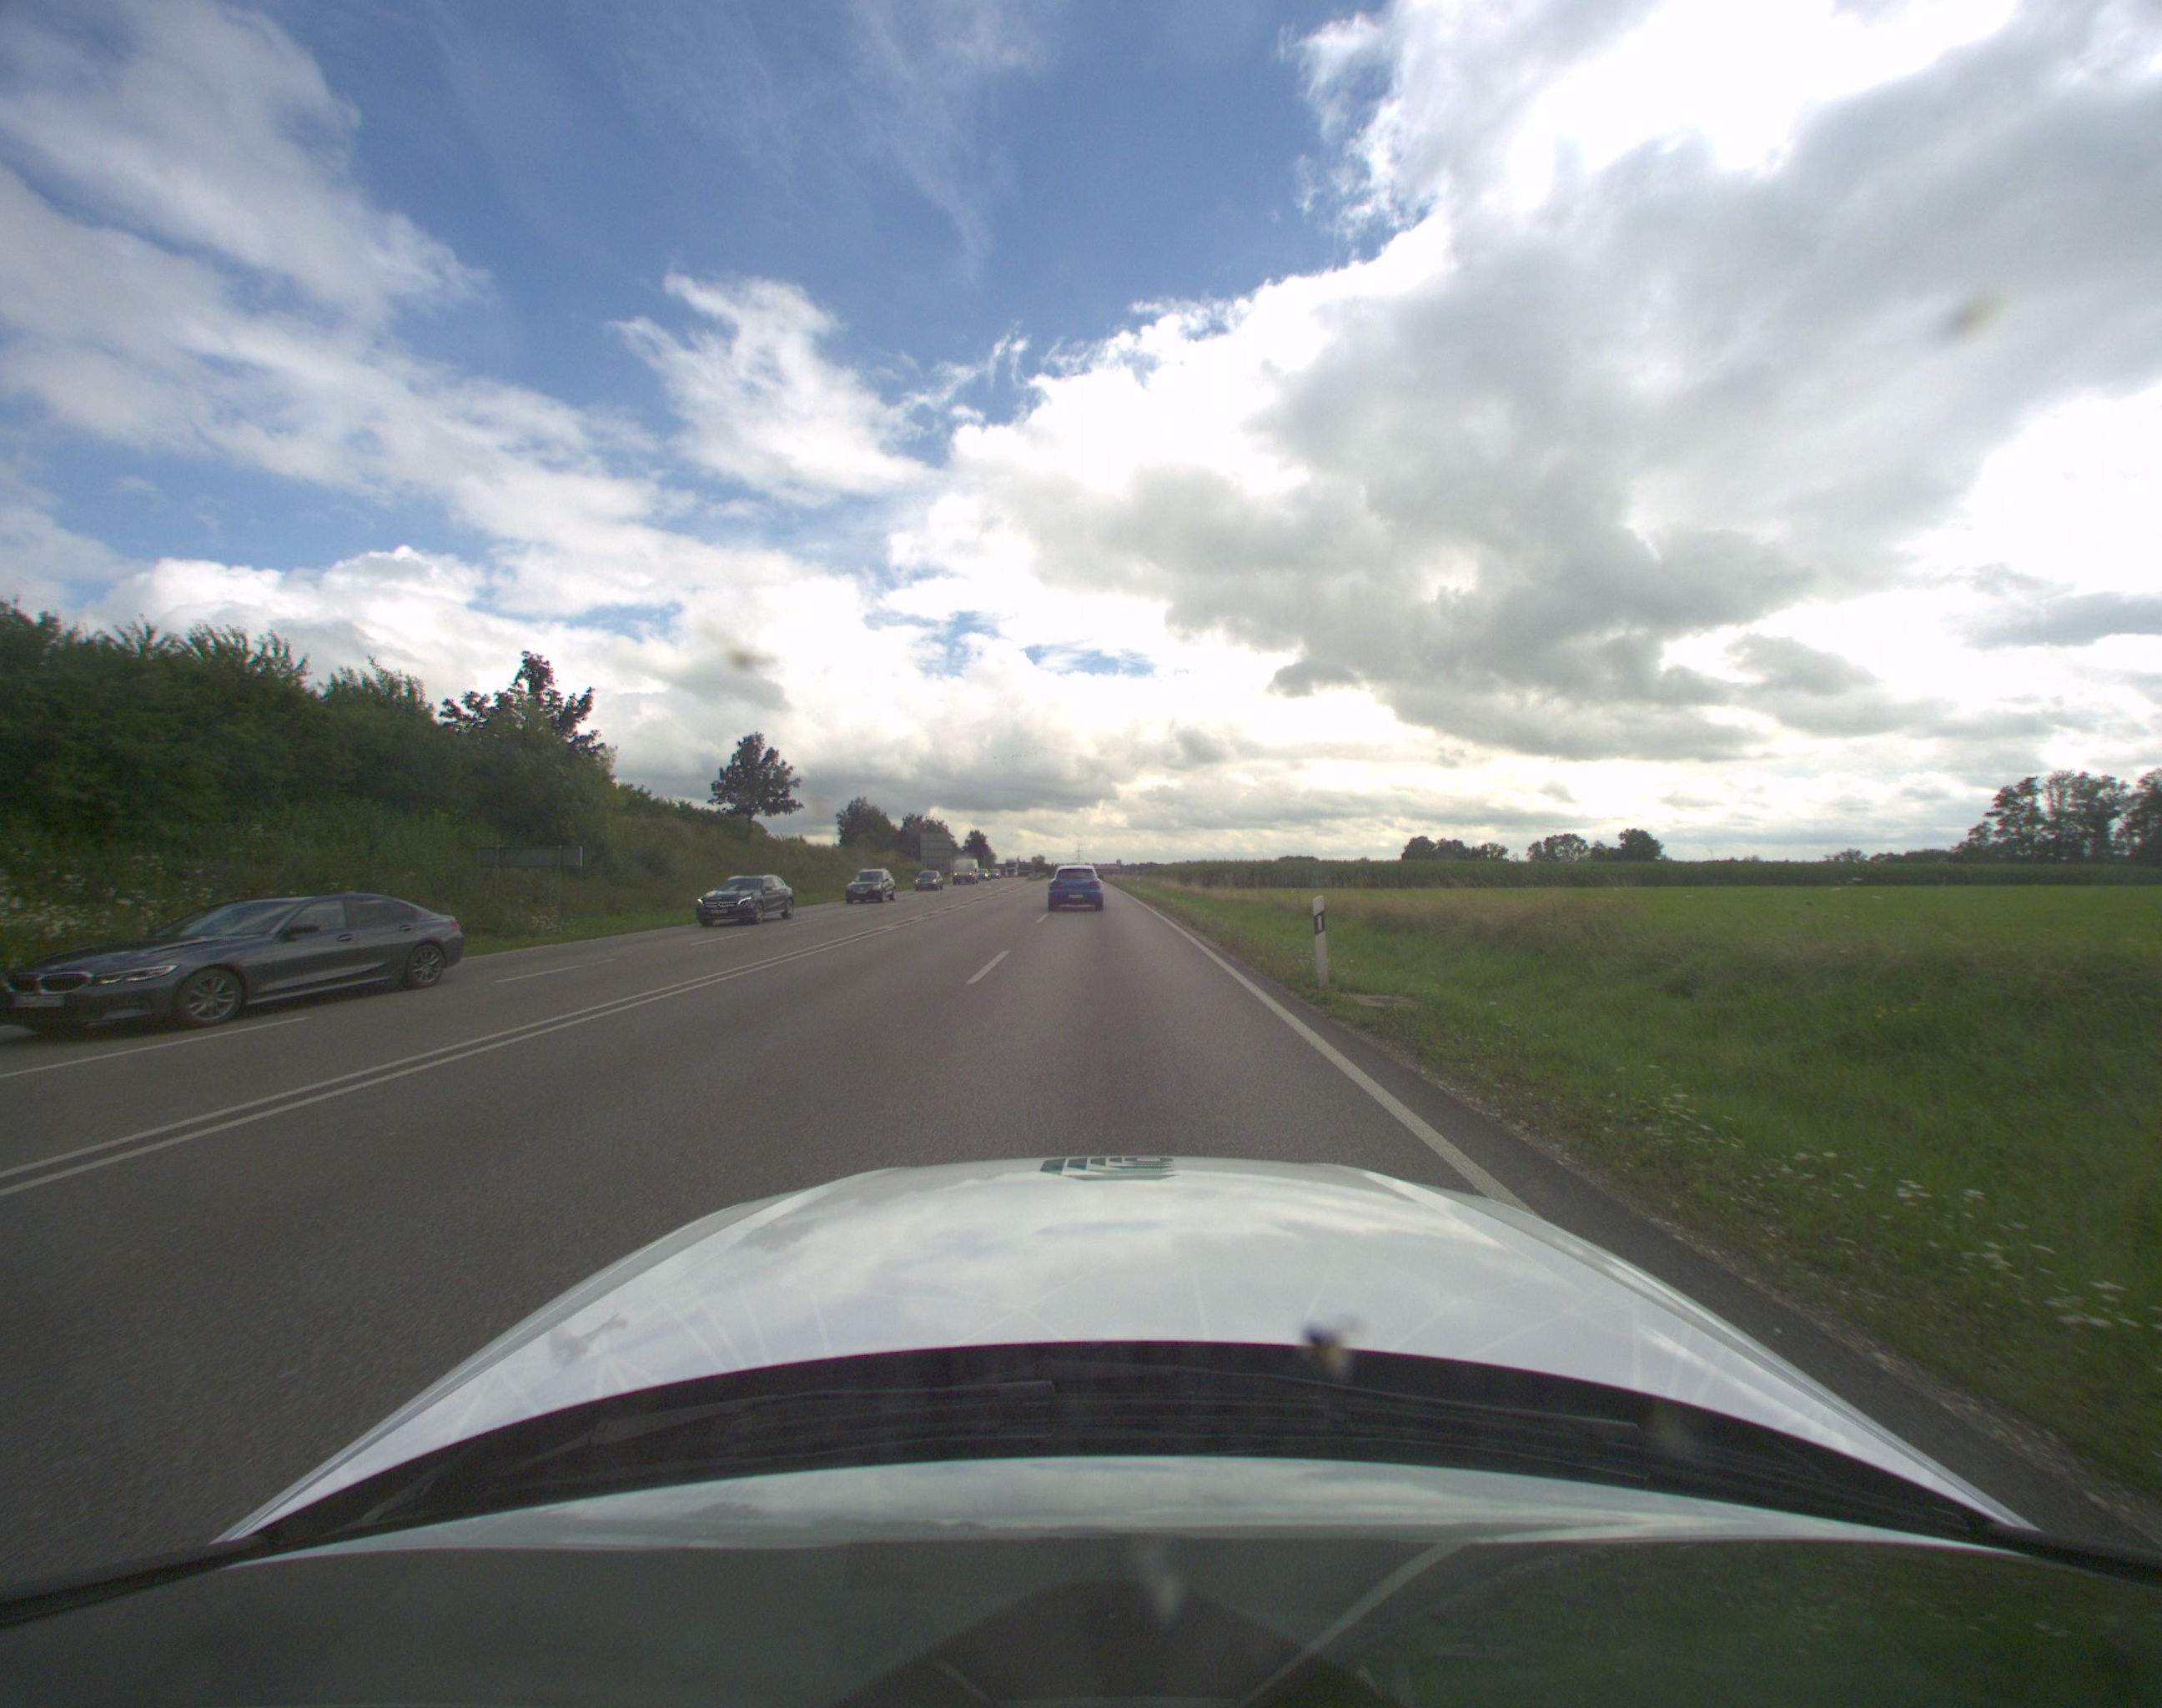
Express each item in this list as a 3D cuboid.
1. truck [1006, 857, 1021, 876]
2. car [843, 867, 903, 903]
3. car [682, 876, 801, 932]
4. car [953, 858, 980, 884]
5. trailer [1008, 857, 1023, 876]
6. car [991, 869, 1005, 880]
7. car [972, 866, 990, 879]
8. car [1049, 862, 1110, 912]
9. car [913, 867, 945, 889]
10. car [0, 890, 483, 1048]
[{"bbox_3d":[-14.152,2.639,171.444,2.795,3.997,5.283,0,-1,-2],"label":"truck"},{"bbox_3d":[-10.533,1.557,41.591,1.788,1.634,4.516,-2,-1,1],"label":"car"},{"bbox_3d":[-10.741,1.522,26.173,1.788,1.511,4.705,-1,0,1],"label":"car"},{"bbox_3d":[-11.345,1.634,81.197,2.027,2.440,5.631,-1,0,-2],"label":"car"},{"bbox_3d":[-14.330,2.739,179.275,2.768,3.947,12.975,0,0,-2],"label":"trailer"},{"bbox_3d":[-12.004,2.930,117.882,1.728,1.530,4.191,-1,0,-2],"label":"car"},{"bbox_3d":[-12.251,2.230,100.004,1.728,1.530,4.545,-1,0,-2],"label":"car"},{"bbox_3d":[-0.115,1.147,29.727,2.027,1.660,4.540,-1,-1,-2],"label":"car"},{"bbox_3d":[-11.409,1.768,61.484,1.728,1.530,4.191,-1,0,-2],"label":"car"},{"bbox_3d":[-10.430,1.269,10.590,1.788,1.405,4.705,-1,0,1],"label":"car"}]
